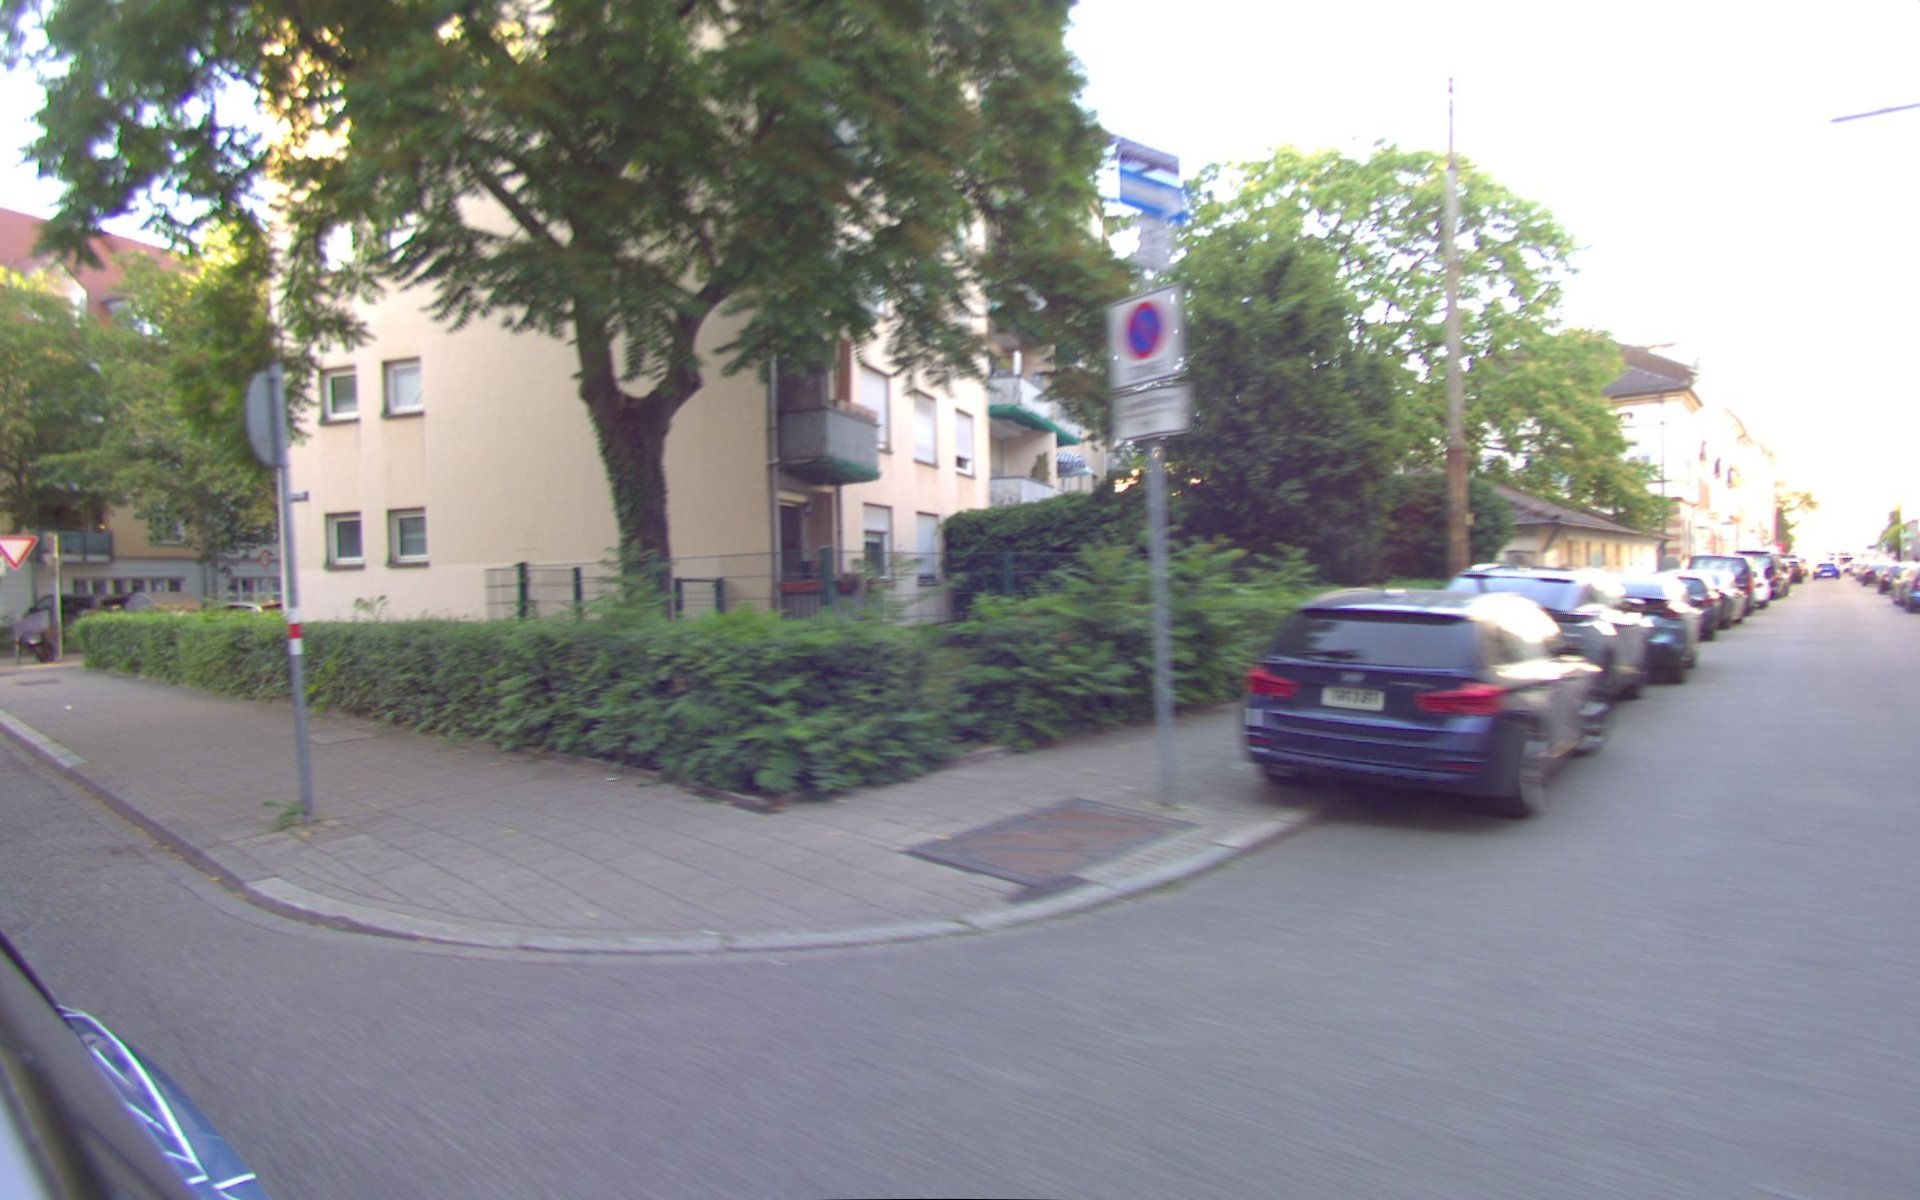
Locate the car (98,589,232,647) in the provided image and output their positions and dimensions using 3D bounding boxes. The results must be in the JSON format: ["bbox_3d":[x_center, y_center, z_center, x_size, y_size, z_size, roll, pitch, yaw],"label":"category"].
[{"bbox_3d":[-31.247,0.656,39.800,4.296,2.092,2.215,1,1,19],"label":"car"}]

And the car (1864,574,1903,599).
[{"bbox_3d":[55.734,-0.856,61.104,1.560,1.451,3.328,2,3,40],"label":"car"}]

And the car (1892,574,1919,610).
[{"bbox_3d":[40.394,-0.362,42.559,1.560,1.451,3.328,2,3,40],"label":"car"}]

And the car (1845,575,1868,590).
[{"bbox_3d":[89.785,-1.810,101.385,1.560,1.451,3.328,2,3,40],"label":"car"}]

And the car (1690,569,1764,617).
[{"bbox_3d":[25.274,-0.271,33.302,1.711,1.468,3.921,2,3,40],"label":"car"}]

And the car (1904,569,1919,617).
[{"bbox_3d":[30.694,-0.234,31.615,1.560,1.451,3.328,2,3,40],"label":"car"}]

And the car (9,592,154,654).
[{"bbox_3d":[-32.508,0.794,37.476,4.296,2.092,2.215,1,1,19],"label":"car"}]

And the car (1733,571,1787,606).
[{"bbox_3d":[35.595,-0.530,44.991,1.711,1.468,3.921,2,3,40],"label":"car"}]

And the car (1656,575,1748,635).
[{"bbox_3d":[20.024,0.071,27.266,1.711,1.468,3.921,2,3,40],"label":"car"}]

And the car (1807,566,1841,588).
[{"bbox_3d":[72.455,-1.895,84.898,1.998,1.792,3.948,-1,0,39],"label":"car"}]

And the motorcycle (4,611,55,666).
[{"bbox_3d":[-24.301,0.975,26.446,0.846,1.363,1.962,-1,0,-39],"label":"motorcycle"}]

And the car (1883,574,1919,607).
[{"bbox_3d":[44.321,-0.464,47.320,1.560,1.451,3.328,2,3,40],"label":"car"}]

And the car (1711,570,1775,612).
[{"bbox_3d":[29.254,-0.381,37.769,1.711,1.468,3.921,2,3,40],"label":"car"}]

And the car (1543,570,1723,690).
[{"bbox_3d":[10.455,0.360,15.595,1.829,1.588,3.946,0,1,41],"label":"car"}]

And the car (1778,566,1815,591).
[{"bbox_3d":[60.757,-1.546,73.548,1.998,1.711,3.948,-1,1,39],"label":"car"}]

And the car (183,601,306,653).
[{"bbox_3d":[-22.417,0.841,31.699,3.480,1.518,1.620,-1,1,25],"label":"car"}]

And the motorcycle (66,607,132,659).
[{"bbox_3d":[-23.933,0.911,28.138,1.958,1.417,0.568,-1,0,23],"label":"motorcycle"}]

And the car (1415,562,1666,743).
[{"bbox_3d":[6.829,0.458,11.702,1.727,1.717,4.070,0,1,42],"label":"car"}]

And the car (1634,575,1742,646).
[{"bbox_3d":[16.894,0.176,23.409,1.711,1.468,3.921,2,3,40],"label":"car"}]

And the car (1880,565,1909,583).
[{"bbox_3d":[77.014,-2.125,83.465,1.560,1.451,3.328,2,3,40],"label":"car"}]

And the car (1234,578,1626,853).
[{"bbox_3d":[3.825,0.595,7.767,1.725,1.493,4.328,0,1,39],"label":"car"}]
